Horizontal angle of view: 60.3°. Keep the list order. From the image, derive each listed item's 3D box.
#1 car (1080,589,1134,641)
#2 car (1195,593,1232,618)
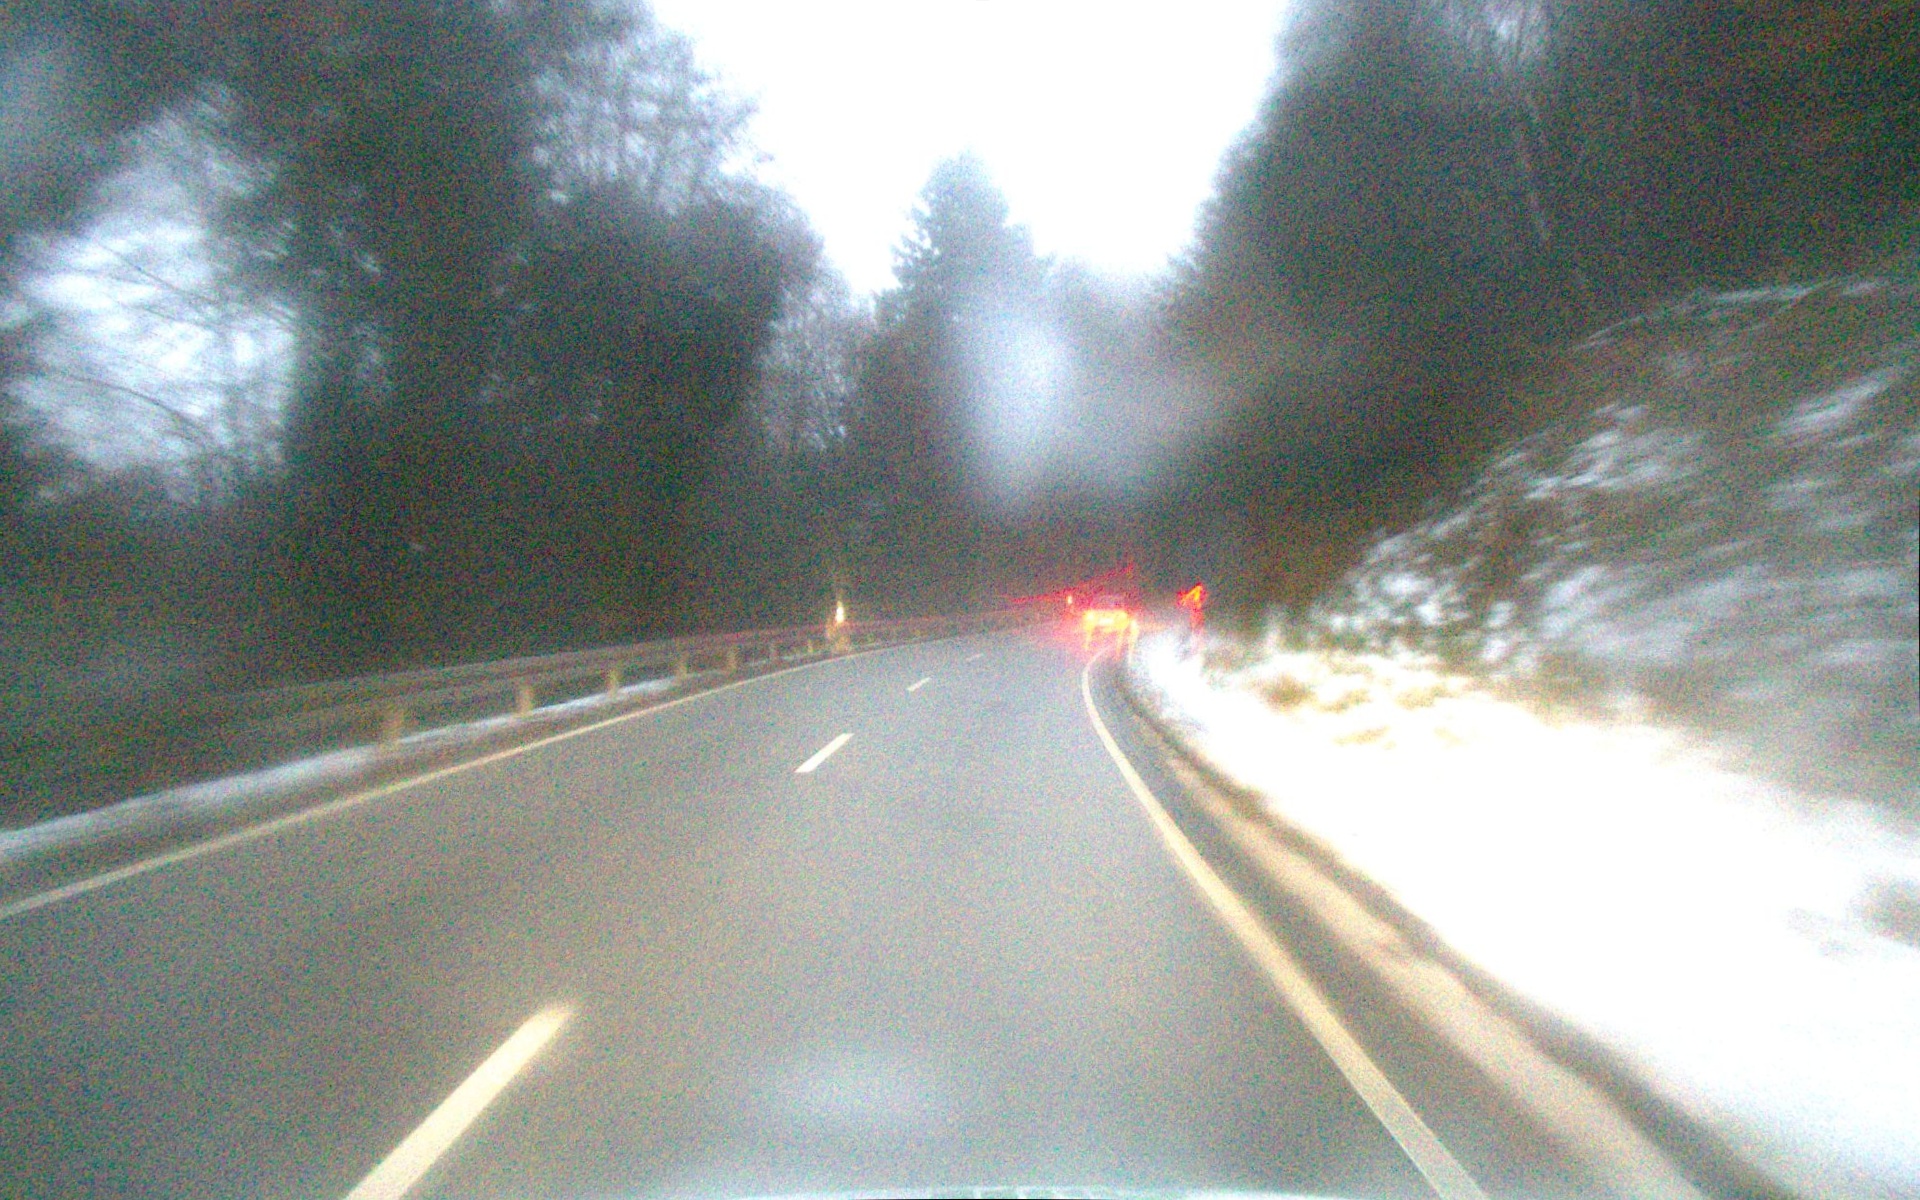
[{"bbox_3d":[5.640,0.546,63.878,1.952,1.905,4.002,-2,0,3],"label":"car"},{"bbox_3d":[14.765,0.303,96.210,1.951,1.333,4.004,-2,0,11],"label":"car"}]
